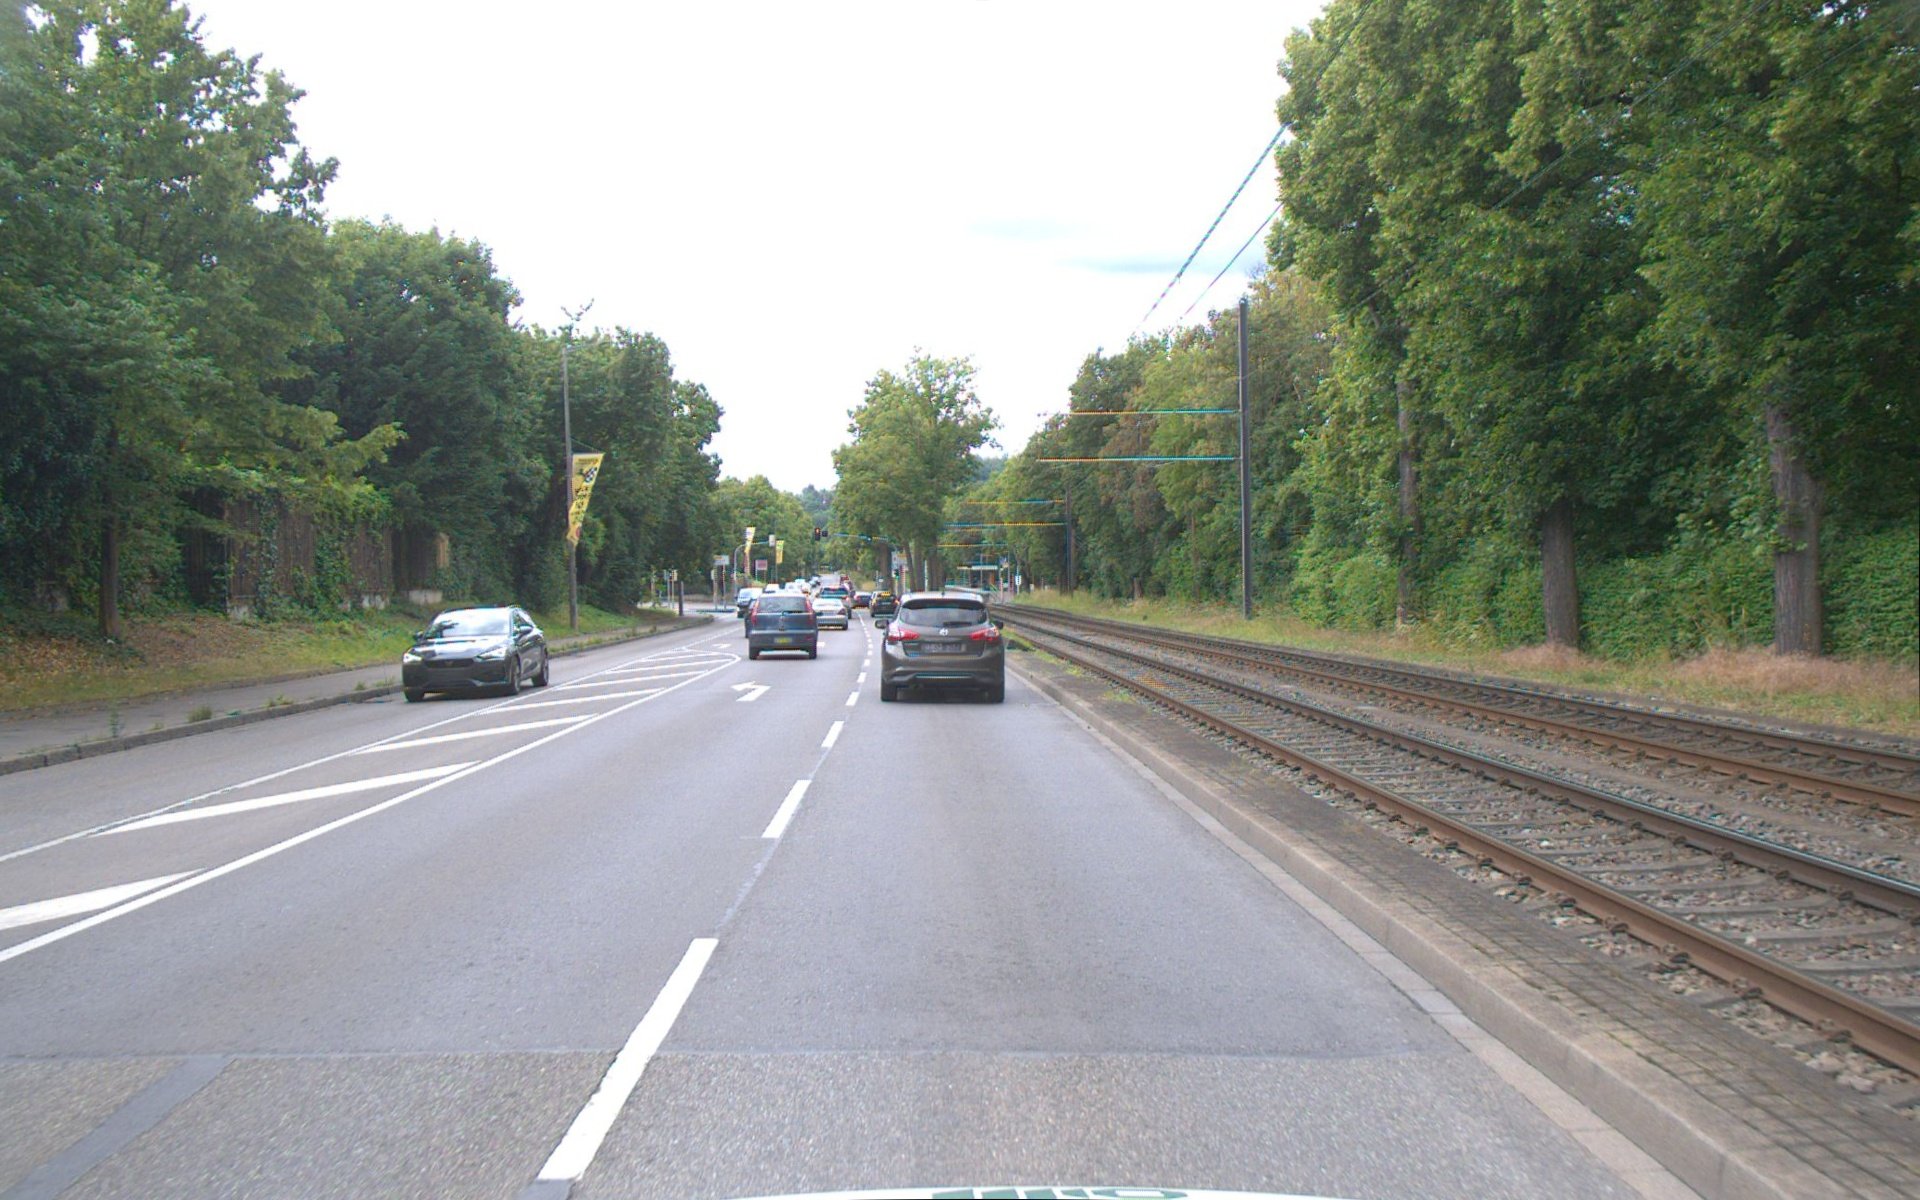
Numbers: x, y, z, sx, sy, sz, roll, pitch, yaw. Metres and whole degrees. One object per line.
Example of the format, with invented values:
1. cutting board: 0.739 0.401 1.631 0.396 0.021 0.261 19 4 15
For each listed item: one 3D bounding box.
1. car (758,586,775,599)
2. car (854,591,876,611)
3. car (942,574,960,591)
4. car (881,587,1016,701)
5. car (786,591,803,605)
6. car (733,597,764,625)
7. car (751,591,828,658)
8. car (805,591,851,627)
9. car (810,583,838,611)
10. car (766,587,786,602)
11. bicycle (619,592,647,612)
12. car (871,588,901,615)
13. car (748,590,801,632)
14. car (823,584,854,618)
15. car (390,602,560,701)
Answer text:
1. car: -23.999 -0.909 205.488 1.680 1.577 3.999 0 0 -1
2. car: -7.831 0.108 136.411 1.680 1.577 3.999 0 0 -1
3. car: -0.970 -1.752 170.705 1.681 1.692 3.705 0 0 -3
4. car: -0.168 0.577 24.283 1.813 1.519 4.000 0 1 -1
5. car: -19.122 -0.266 191.312 1.680 1.577 3.999 0 0 -1
6. car: -13.978 0.726 109.374 1.681 1.791 3.998 0 0 -3
7. car: -3.962 0.532 38.952 1.666 1.469 3.997 0 0 -4
8. car: -5.563 0.384 70.014 1.680 1.460 3.999 0 0 -1
9. car: -9.391 -0.181 114.297 1.680 1.896 3.999 0 0 -1
10. car: -19.127 -0.541 171.610 1.680 1.577 3.999 0 0 -1
11. bicycle: -18.929 0.111 95.768 0.489 1.127 1.797 0 0 29
12. car: -4.434 0.111 100.066 1.680 1.577 3.999 0 0 -1
13. car: -6.702 0.379 60.050 1.681 1.460 3.998 0 0 -3
14. car: -7.034 0.065 95.939 1.681 1.896 3.997 0 0 -3
15. car: -8.029 0.800 27.794 1.805 1.399 4.443 -3 1 -5
